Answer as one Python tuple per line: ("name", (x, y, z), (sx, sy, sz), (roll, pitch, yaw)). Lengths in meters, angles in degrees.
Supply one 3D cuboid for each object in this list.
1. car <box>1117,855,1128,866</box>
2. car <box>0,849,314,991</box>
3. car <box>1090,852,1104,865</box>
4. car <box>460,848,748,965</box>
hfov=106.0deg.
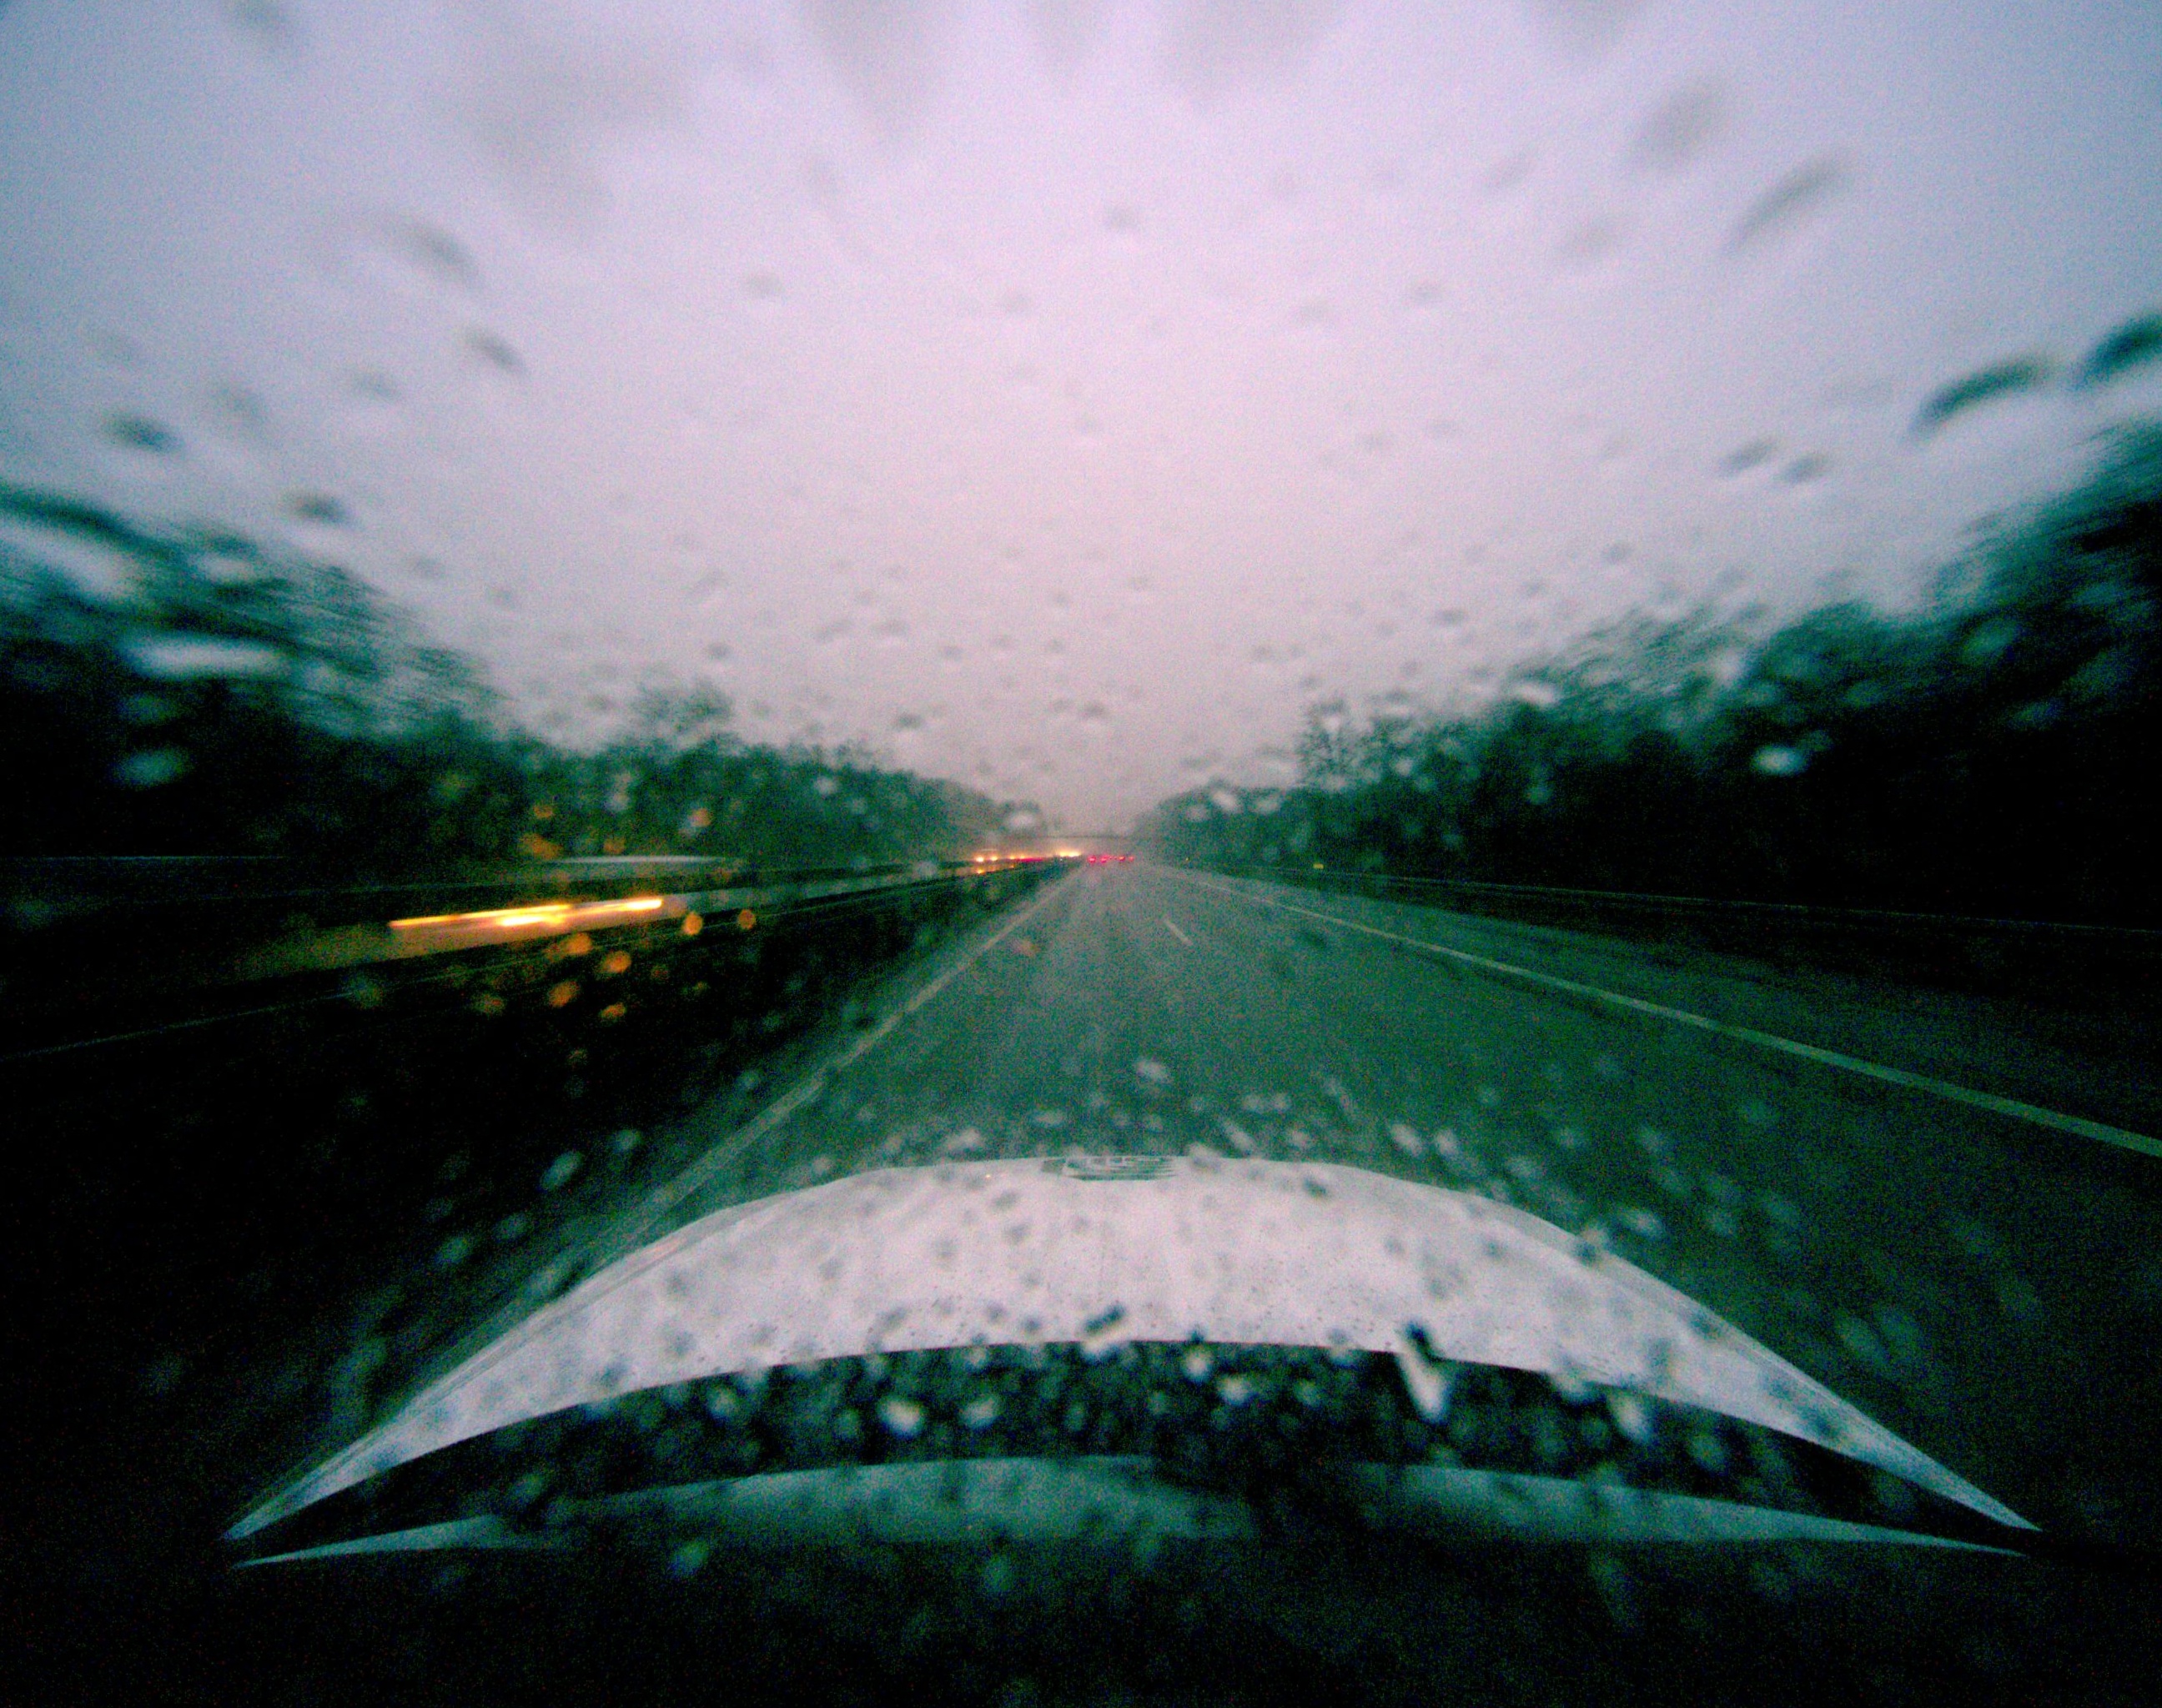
("car", (5.555, 0.820, 109.474), (1.448, 1.429, 3.491), (0, 0, 1))
("car", (-11.397, 0.674, 9.214), (1.493, 1.396, 4.055), (-1, 0, 2))
("car", (1.729, 0.464, 85.709), (1.448, 1.344, 3.491), (0, 0, 1))
("car", (-7.015, 0.681, 12.636), (1.721, 1.460, 4.418), (1, 0, 2))
